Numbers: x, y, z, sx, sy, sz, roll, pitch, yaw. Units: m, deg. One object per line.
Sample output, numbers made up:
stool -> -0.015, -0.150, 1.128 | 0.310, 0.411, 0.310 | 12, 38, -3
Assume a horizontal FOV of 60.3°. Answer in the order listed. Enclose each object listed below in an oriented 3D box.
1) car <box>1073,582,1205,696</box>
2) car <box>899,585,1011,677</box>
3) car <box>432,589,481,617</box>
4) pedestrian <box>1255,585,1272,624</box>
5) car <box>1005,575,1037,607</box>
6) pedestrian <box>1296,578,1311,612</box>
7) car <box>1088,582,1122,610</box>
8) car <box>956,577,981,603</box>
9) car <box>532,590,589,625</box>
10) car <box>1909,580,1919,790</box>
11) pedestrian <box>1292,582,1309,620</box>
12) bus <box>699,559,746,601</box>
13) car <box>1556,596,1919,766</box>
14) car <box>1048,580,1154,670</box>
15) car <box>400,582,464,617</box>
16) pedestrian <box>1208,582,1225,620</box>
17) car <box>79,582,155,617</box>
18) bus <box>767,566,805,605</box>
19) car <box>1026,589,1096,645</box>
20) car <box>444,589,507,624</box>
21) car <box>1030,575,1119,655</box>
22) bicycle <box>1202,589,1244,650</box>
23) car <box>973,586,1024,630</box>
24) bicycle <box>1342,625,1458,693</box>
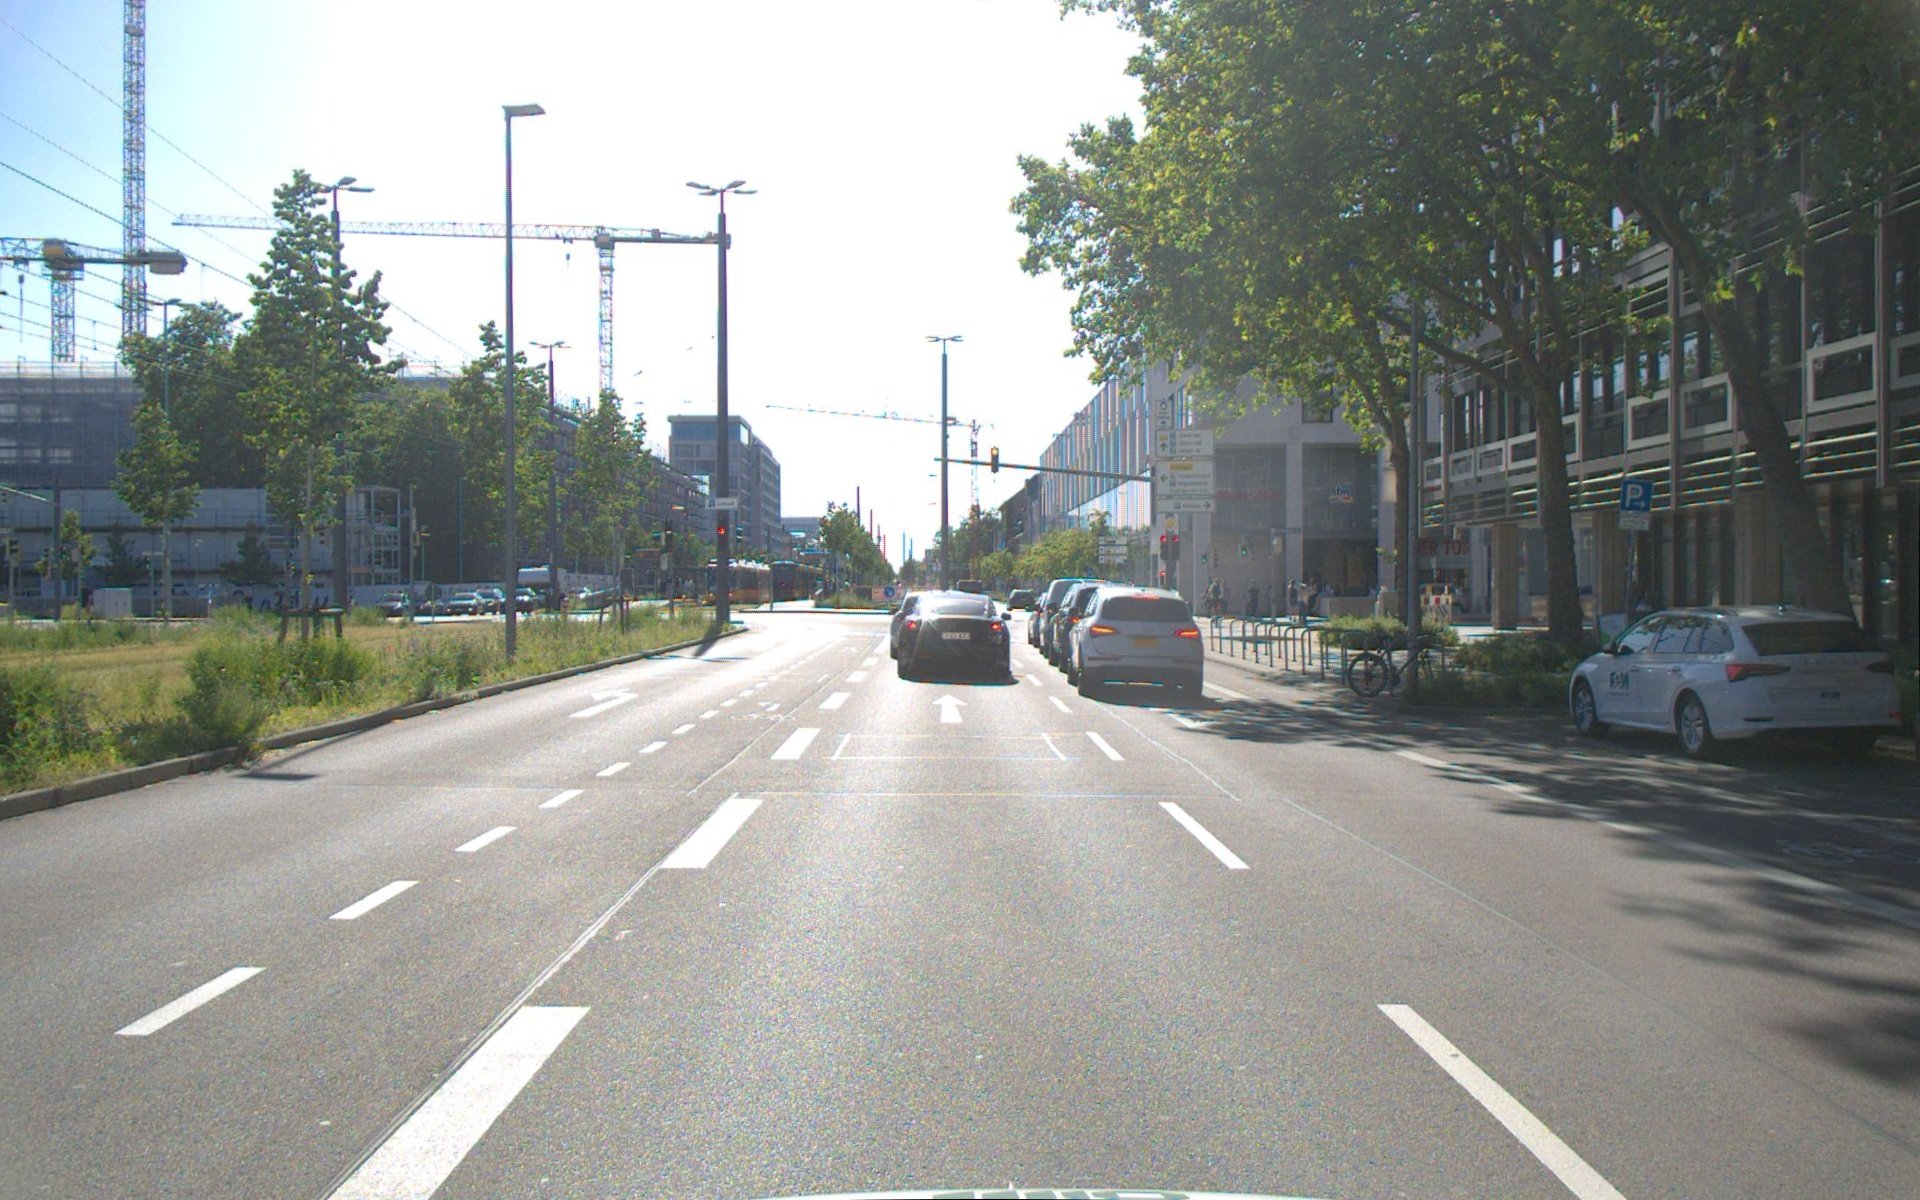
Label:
car -> 2.741, 0.545, 26.139 | 1.686, 1.646, 4.187 | 0, 1, 1
car -> -0.135, 0.500, 29.689 | 1.873, 1.512, 4.008 | 0, 1, -2
car -> -30.470, 0.200, 100.156 | 1.800, 1.641, 3.894 | 2, 0, -1
pedestrian -> 11.441, 0.165, 62.274 | 0.550, 1.466, 0.632 | 2, -1, 6
car -> 4.151, -0.595, 113.482 | 1.953, 2.049, 3.999 | 2, -1, -1
pedestrian -> 14.941, -0.225, 71.893 | 0.550, 1.466, 0.632 | 2, -1, 6
car -> 9.129, -0.227, 104.473 | 1.629, 1.678, 3.699 | 2, 0, -3
car -> 0.722, -0.826, 137.512 | 1.953, 2.049, 3.999 | 2, -1, -1
car -> -14.494, 0.270, 60.145 | 1.348, 1.199, 3.219 | 2, 0, -2
car -> 8.102, 0.653, 10.540 | 1.669, 1.591, 4.191 | 0, 0, -1
pedestrian -> 13.319, 0.042, 64.622 | 0.550, 1.466, 0.632 | 2, -1, 6
bus -> -17.203, -1.400, 120.360 | 2.575, 2.831, 8.838 | 2, 0, -3
car -> 7.976, 0.734, 17.449 | 1.669, 1.518, 4.600 | 0, 1, -1
car -> 2.751, 0.448, 33.019 | 1.686, 1.682, 4.185 | 0, 1, -1
car -> -19.296, -0.020, 60.517 | 1.348, 1.199, 3.219 | 2, 0, -2
pedestrian -> 9.905, 0.045, 63.864 | 0.550, 1.466, 0.632 | 2, -1, 6
car -> -41.230, -0.010, 80.989 | 1.676, 1.583, 3.999 | 2, 0, -1
bus -> -14.426, -1.165, 137.409 | 2.575, 3.011, 9.892 | 2, 0, -3
car -> 2.775, 0.436, 46.189 | 1.686, 1.456, 4.186 | 0, 1, 0
car -> -17.283, 0.238, 59.083 | 1.348, 1.199, 3.219 | 2, 0, -2
car -> 2.681, 0.319, 39.588 | 1.687, 1.814, 4.184 | 0, 1, -2
bicycle -> 6.649, 0.488, 41.943 | 0.551, 1.466, 2.575 | 2, -1, -2
car -> 1.344, 0.258, 58.574 | 1.686, 1.456, 4.186 | 0, 1, 0
bicycle -> 6.836, 0.912, 25.714 | 1.660, 0.974, 0.478 | -2, 1, -5
